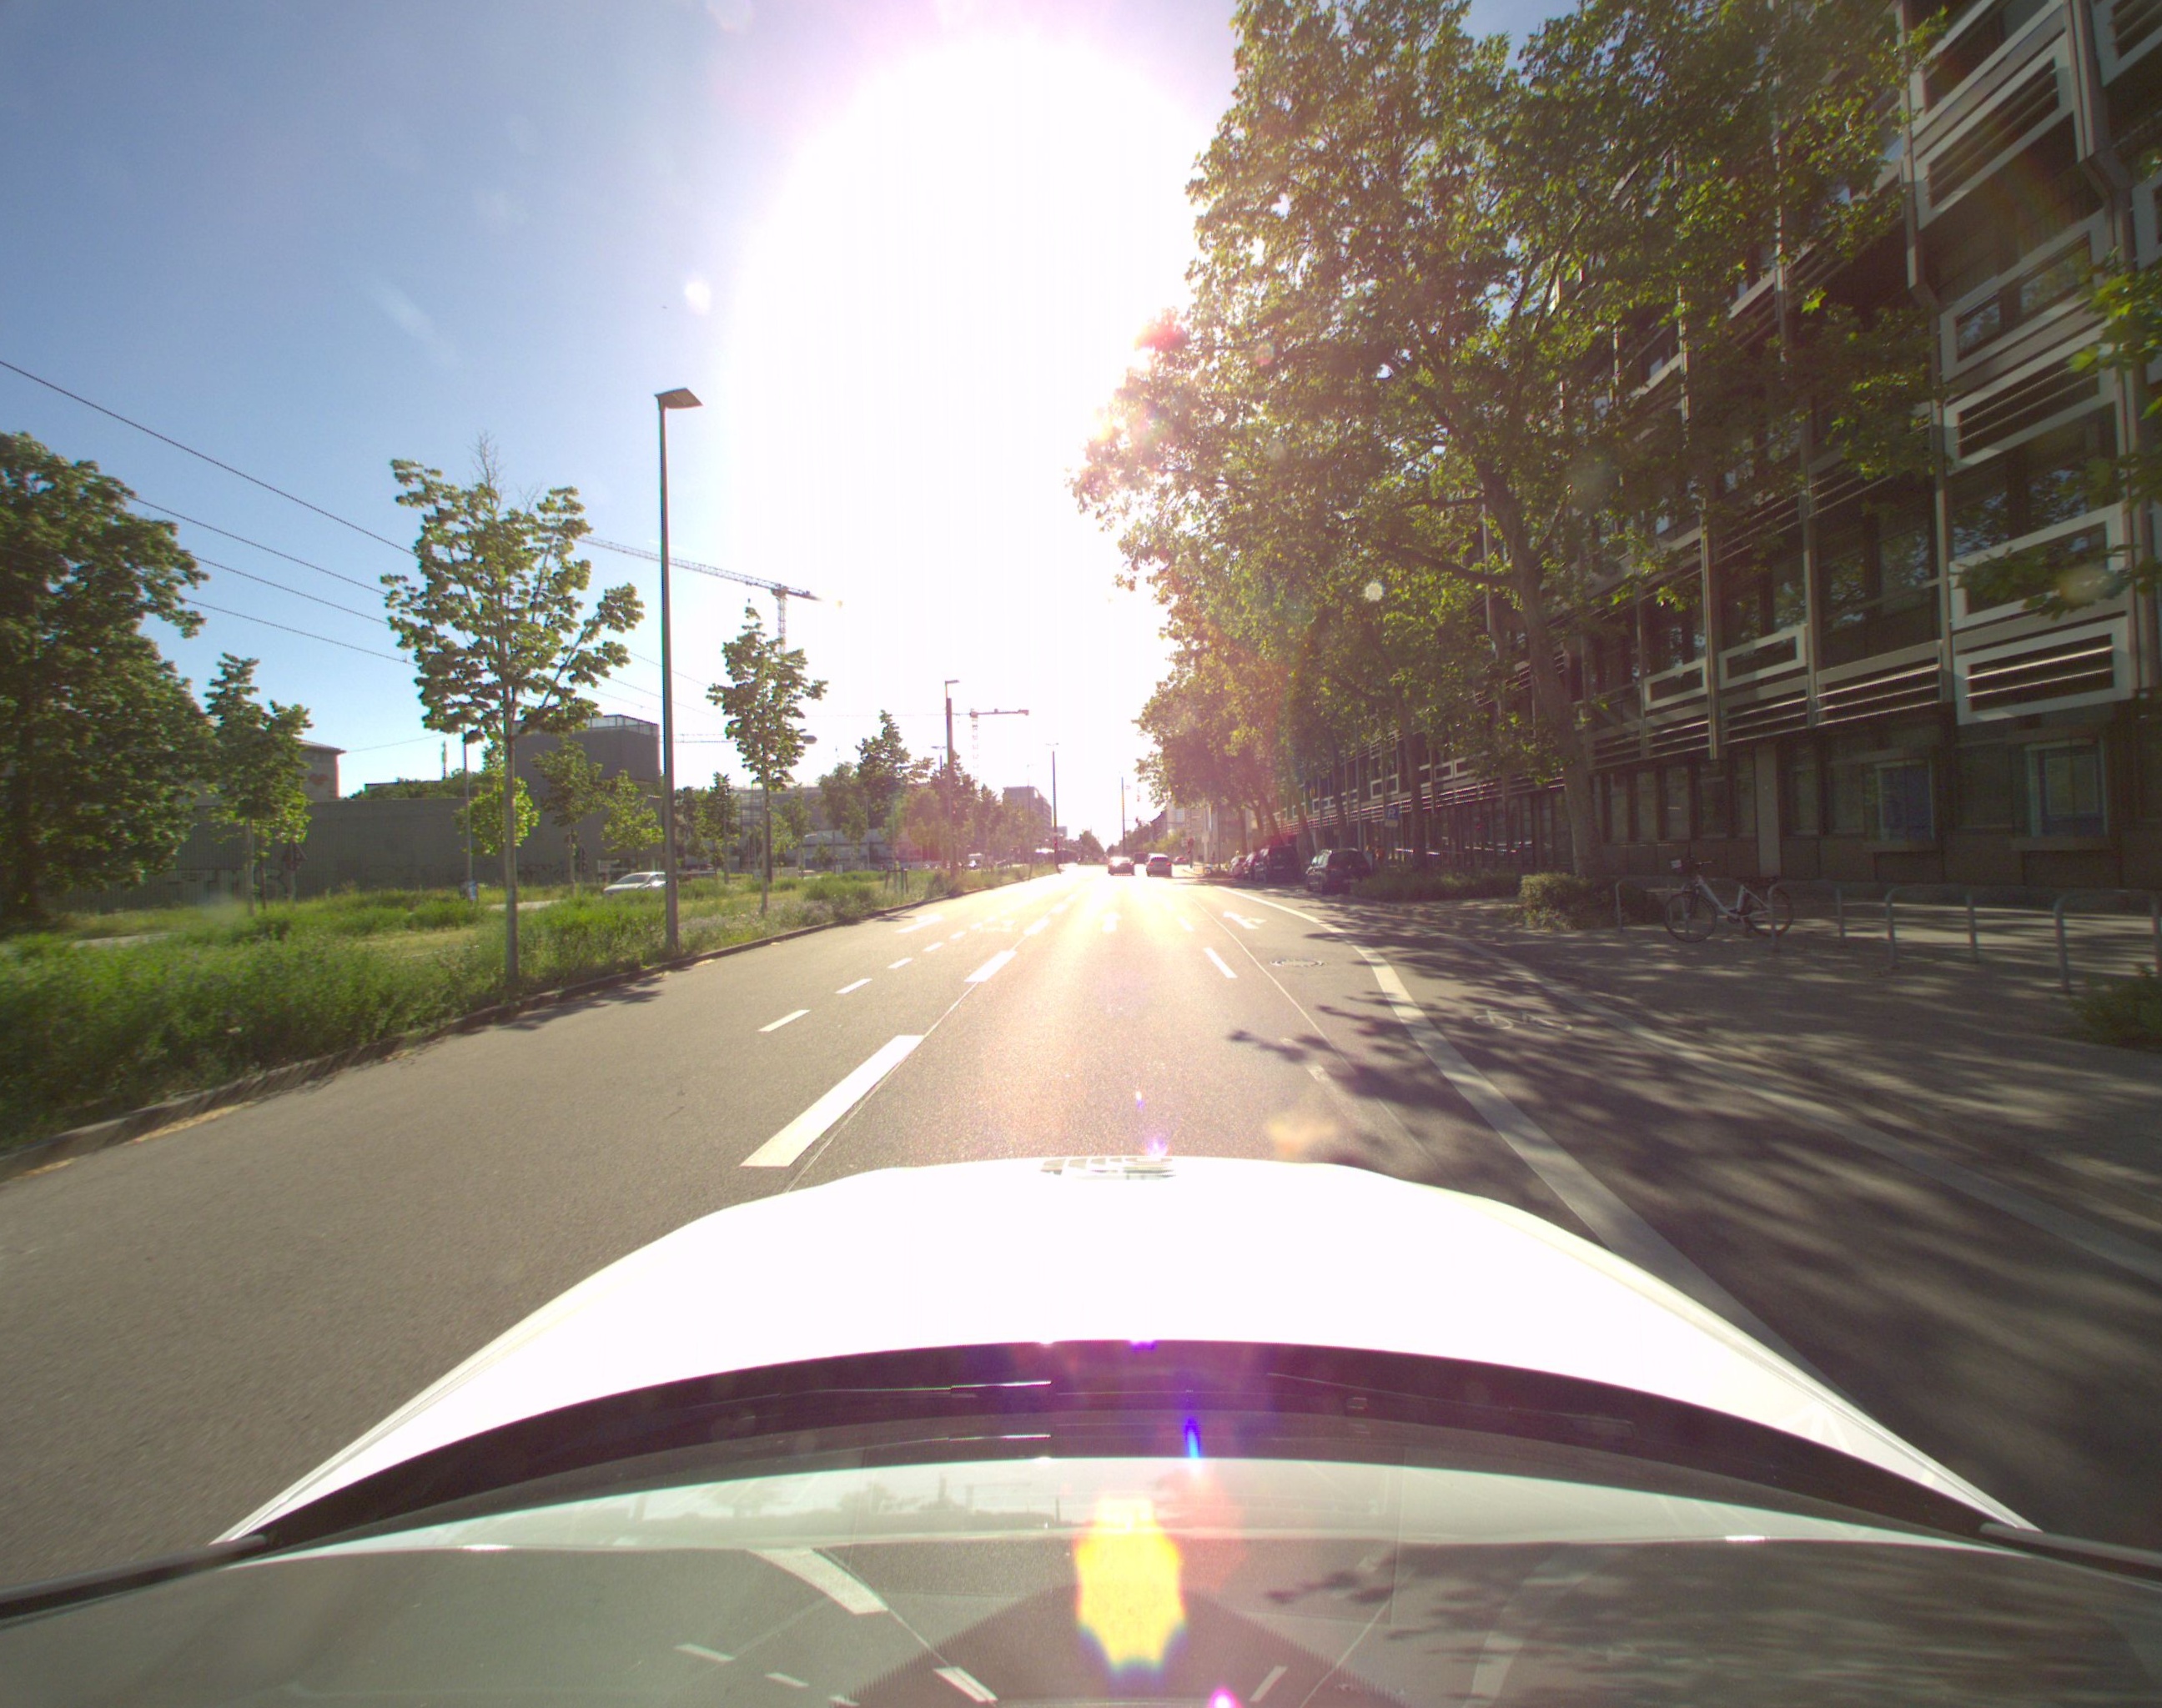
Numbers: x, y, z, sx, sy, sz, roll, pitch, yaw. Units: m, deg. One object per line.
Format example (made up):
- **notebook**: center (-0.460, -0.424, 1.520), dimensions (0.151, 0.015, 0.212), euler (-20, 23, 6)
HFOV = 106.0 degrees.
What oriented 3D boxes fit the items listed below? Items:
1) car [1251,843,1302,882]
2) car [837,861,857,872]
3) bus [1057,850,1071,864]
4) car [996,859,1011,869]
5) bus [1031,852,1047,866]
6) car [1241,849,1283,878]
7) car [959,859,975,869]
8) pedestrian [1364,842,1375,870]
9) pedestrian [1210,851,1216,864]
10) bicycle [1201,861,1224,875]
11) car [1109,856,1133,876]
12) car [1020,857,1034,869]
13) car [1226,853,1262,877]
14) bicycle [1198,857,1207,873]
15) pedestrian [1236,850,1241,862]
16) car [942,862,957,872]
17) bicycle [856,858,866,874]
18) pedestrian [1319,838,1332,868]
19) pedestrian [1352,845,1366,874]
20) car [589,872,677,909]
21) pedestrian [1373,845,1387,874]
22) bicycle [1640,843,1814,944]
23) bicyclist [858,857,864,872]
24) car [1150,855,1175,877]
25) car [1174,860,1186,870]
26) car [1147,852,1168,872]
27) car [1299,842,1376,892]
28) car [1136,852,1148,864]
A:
- **car**: center (9.910, 0.406, 41.486), dimensions (1.697, 1.790, 4.195), euler (-4, 0, 3)
- **car**: center (-35.935, 1.935, 125.217), dimensions (1.703, 1.556, 4.003), euler (0, -1, 3)
- **bus**: center (-3.557, 0.643, 175.197), dimensions (2.619, 2.960, 9.898), euler (0, -1, 1)
- **car**: center (-9.389, 1.252, 98.281), dimensions (1.371, 1.178, 3.222), euler (0, -1, 2)
- **bus**: center (-8.170, 1.015, 158.899), dimensions (2.619, 2.783, 8.843), euler (0, -1, 0)
- **car**: center (10.350, 0.552, 46.836), dimensions (1.697, 1.563, 4.195), euler (-2, 0, 3)
- **car**: center (-13.817, 1.240, 98.813), dimensions (1.371, 1.178, 3.222), euler (0, -1, 2)
- **pedestrian**: center (16.151, 0.111, 45.595), dimensions (0.314, 1.584, 0.500), euler (-1, 0, -6)
- **pedestrian**: center (14.700, 0.418, 90.666), dimensions (0.558, 1.441, 0.633), euler (0, -1, 10)
- **bicycle**: center (10.054, 1.045, 62.223), dimensions (1.688, 0.957, 0.478), euler (-3, 0, -2)
- **car**: center (3.267, 0.956, 66.677), dimensions (1.904, 1.486, 4.011), euler (-2, 0, 2)
- **car**: center (-8.437, 1.434, 126.677), dimensions (1.891, 1.816, 3.999), euler (0, -1, 0)
- **car**: center (10.698, 0.695, 53.765), dimensions (1.697, 1.492, 4.604), euler (-2, 0, 3)
- **bicycle**: center (11.293, 1.066, 75.876), dimensions (0.560, 1.441, 2.577), euler (0, -1, 2)
- **pedestrian**: center (18.788, 0.237, 97.050), dimensions (0.558, 1.441, 0.633), euler (0, -1, 10)
- **car**: center (-22.526, 2.194, 139.519), dimensions (1.830, 1.613, 3.898), euler (0, -1, 2)
- **bicycle**: center (-21.507, 1.161, 79.550), dimensions (0.358, 1.455, 1.915), euler (-1, 0, 3)
- **pedestrian**: center (15.695, -0.062, 52.301), dimensions (0.674, 1.916, 0.557), euler (0, -1, 3)
- **pedestrian**: center (15.587, 0.323, 45.655), dimensions (0.505, 1.584, 0.634), euler (-1, 0, -6)
- **car**: center (-19.637, 1.567, 35.889), dimensions (1.627, 1.398, 3.834), euler (-1, 0, 1)
- **pedestrian**: center (16.761, 0.289, 45.606), dimensions (0.551, 1.603, 0.573), euler (-1, 0, 3)
- **bicycle**: center (9.122, 0.547, 11.532), dimensions (1.931, 1.236, 0.579), euler (-5, 0, -1)
- **bicyclist**: center (-21.496, 0.999, 79.605), dimensions (0.392, 1.455, 0.540), euler (0, -1, 2)
- **car**: center (6.189, 0.888, 62.167), dimensions (1.713, 1.618, 4.191), euler (-2, 0, 5)
- **car**: center (16.059, 1.772, 132.013), dimensions (1.656, 1.649, 3.701), euler (0, -1, 1)
- **car**: center (7.164, 0.691, 76.487), dimensions (1.715, 1.782, 4.187), euler (-2, 0, 1)
- **car**: center (9.339, 0.445, 29.985), dimensions (1.696, 1.643, 4.642), euler (-2, 0, 5)
- **car**: center (10.636, 0.727, 142.174), dimensions (1.985, 2.014, 4.003), euler (0, -1, 3)
